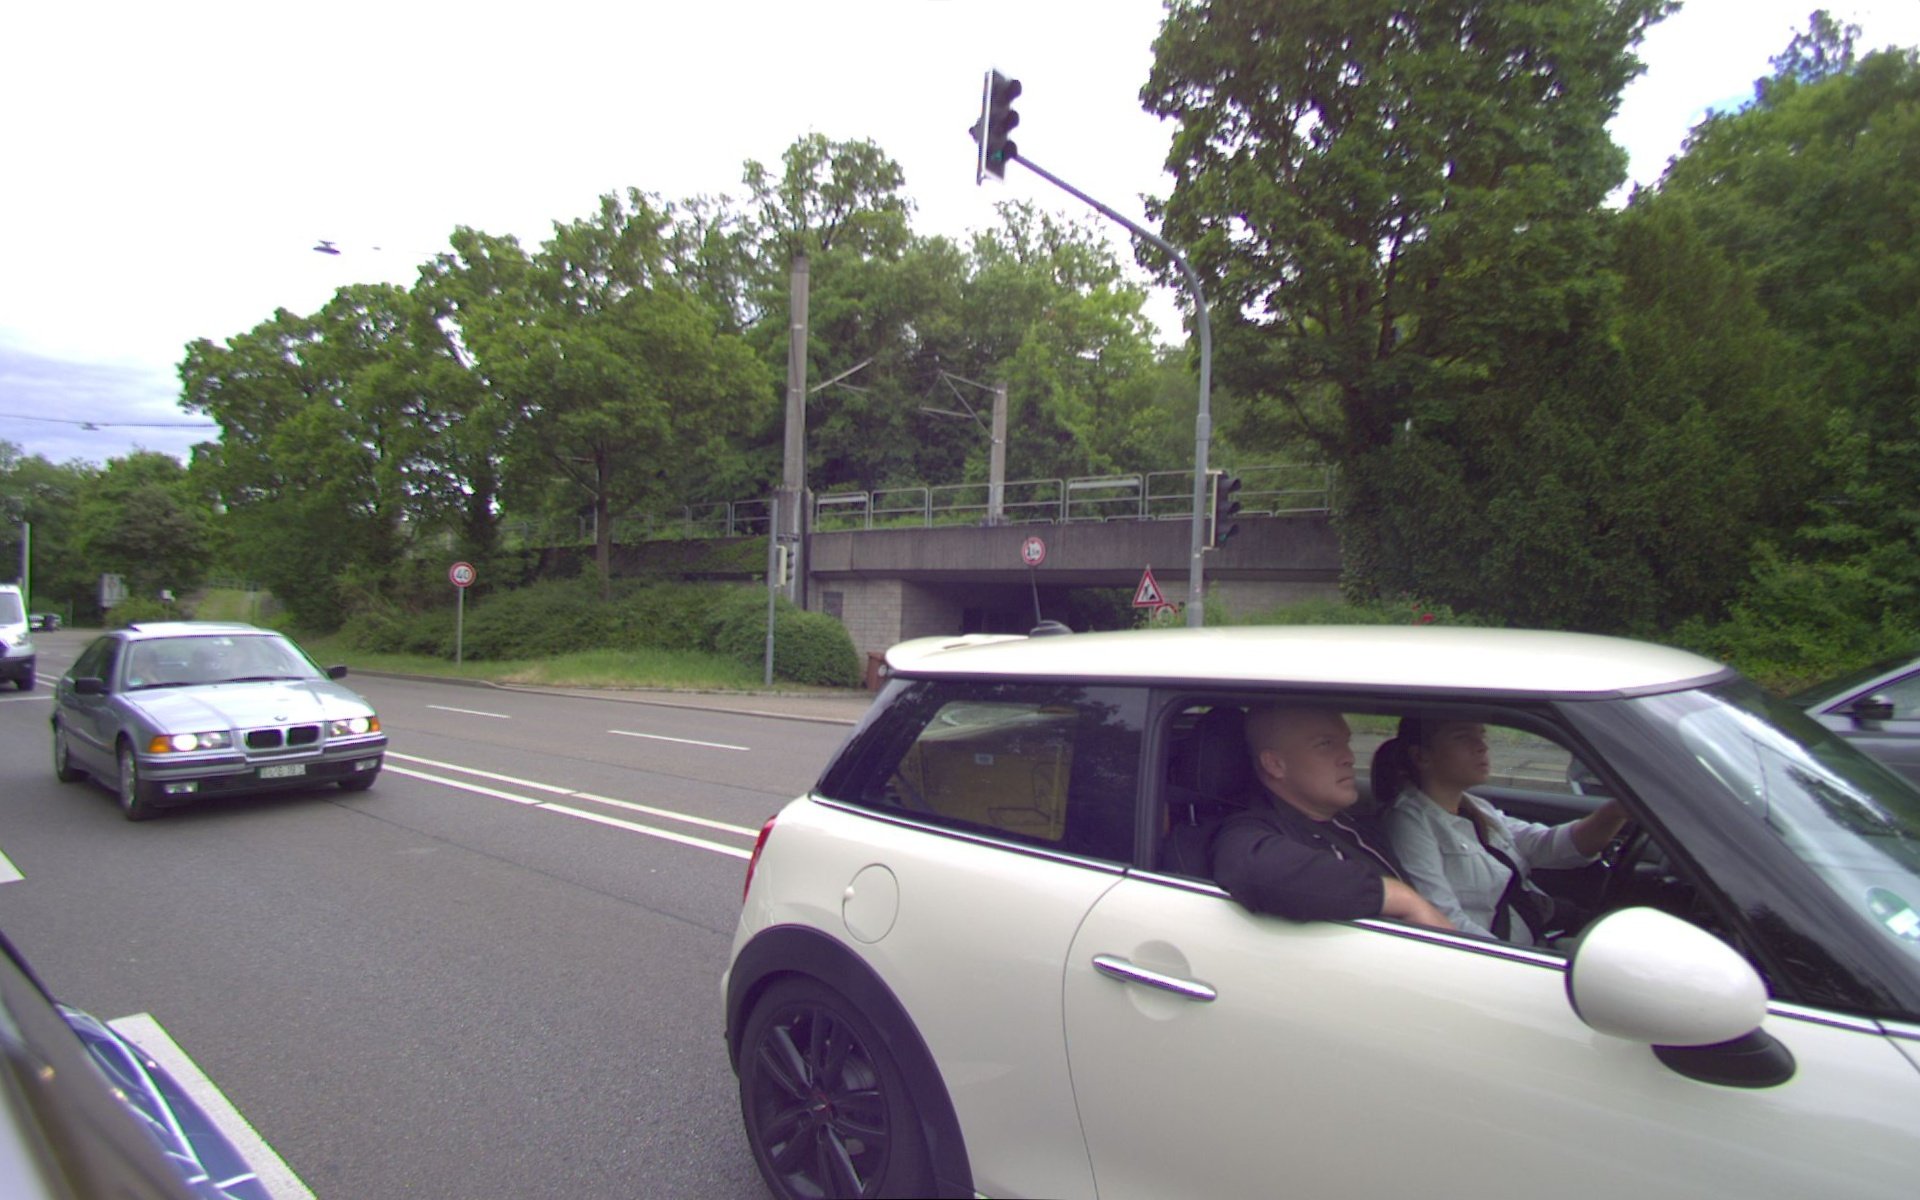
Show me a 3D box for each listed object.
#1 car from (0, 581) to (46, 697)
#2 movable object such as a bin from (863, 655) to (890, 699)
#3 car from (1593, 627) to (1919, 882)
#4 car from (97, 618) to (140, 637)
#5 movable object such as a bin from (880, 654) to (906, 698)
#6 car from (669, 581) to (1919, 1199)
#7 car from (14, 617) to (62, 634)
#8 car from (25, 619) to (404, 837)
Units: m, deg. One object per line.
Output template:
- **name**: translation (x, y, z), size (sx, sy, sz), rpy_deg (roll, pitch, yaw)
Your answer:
- **car**: translation (-21.083, 0.795, 21.087), size (6.454, 2.217, 2.256), rpy_deg (-1, -1, 41)
- **movable object such as a bin**: translation (-2.039, 1.883, 24.844), size (0.503, 1.071, 0.414), rpy_deg (-1, -3, 36)
- **car**: translation (6.327, 0.872, 5.823), size (4.358, 1.406, 1.662), rpy_deg (-1, -3, 41)
- **car**: translation (-91.266, 2.962, 109.844), size (1.967, 2.029, 4.010), rpy_deg (1, -2, -12)
- **movable object such as a bin**: translation (-1.675, 1.905, 25.403), size (0.503, 1.071, 0.414), rpy_deg (-1, -3, 36)
- **car**: translation (1.216, 0.708, 2.028), size (3.729, 1.434, 1.667), rpy_deg (-1, -1, 40)
- **car**: translation (-83.941, 2.326, 92.202), size (1.726, 1.372, 4.023), rpy_deg (4, -4, -20)
- **car**: translation (-6.447, 0.876, 8.580), size (4.179, 1.401, 1.643), rpy_deg (-1, -1, 40)
